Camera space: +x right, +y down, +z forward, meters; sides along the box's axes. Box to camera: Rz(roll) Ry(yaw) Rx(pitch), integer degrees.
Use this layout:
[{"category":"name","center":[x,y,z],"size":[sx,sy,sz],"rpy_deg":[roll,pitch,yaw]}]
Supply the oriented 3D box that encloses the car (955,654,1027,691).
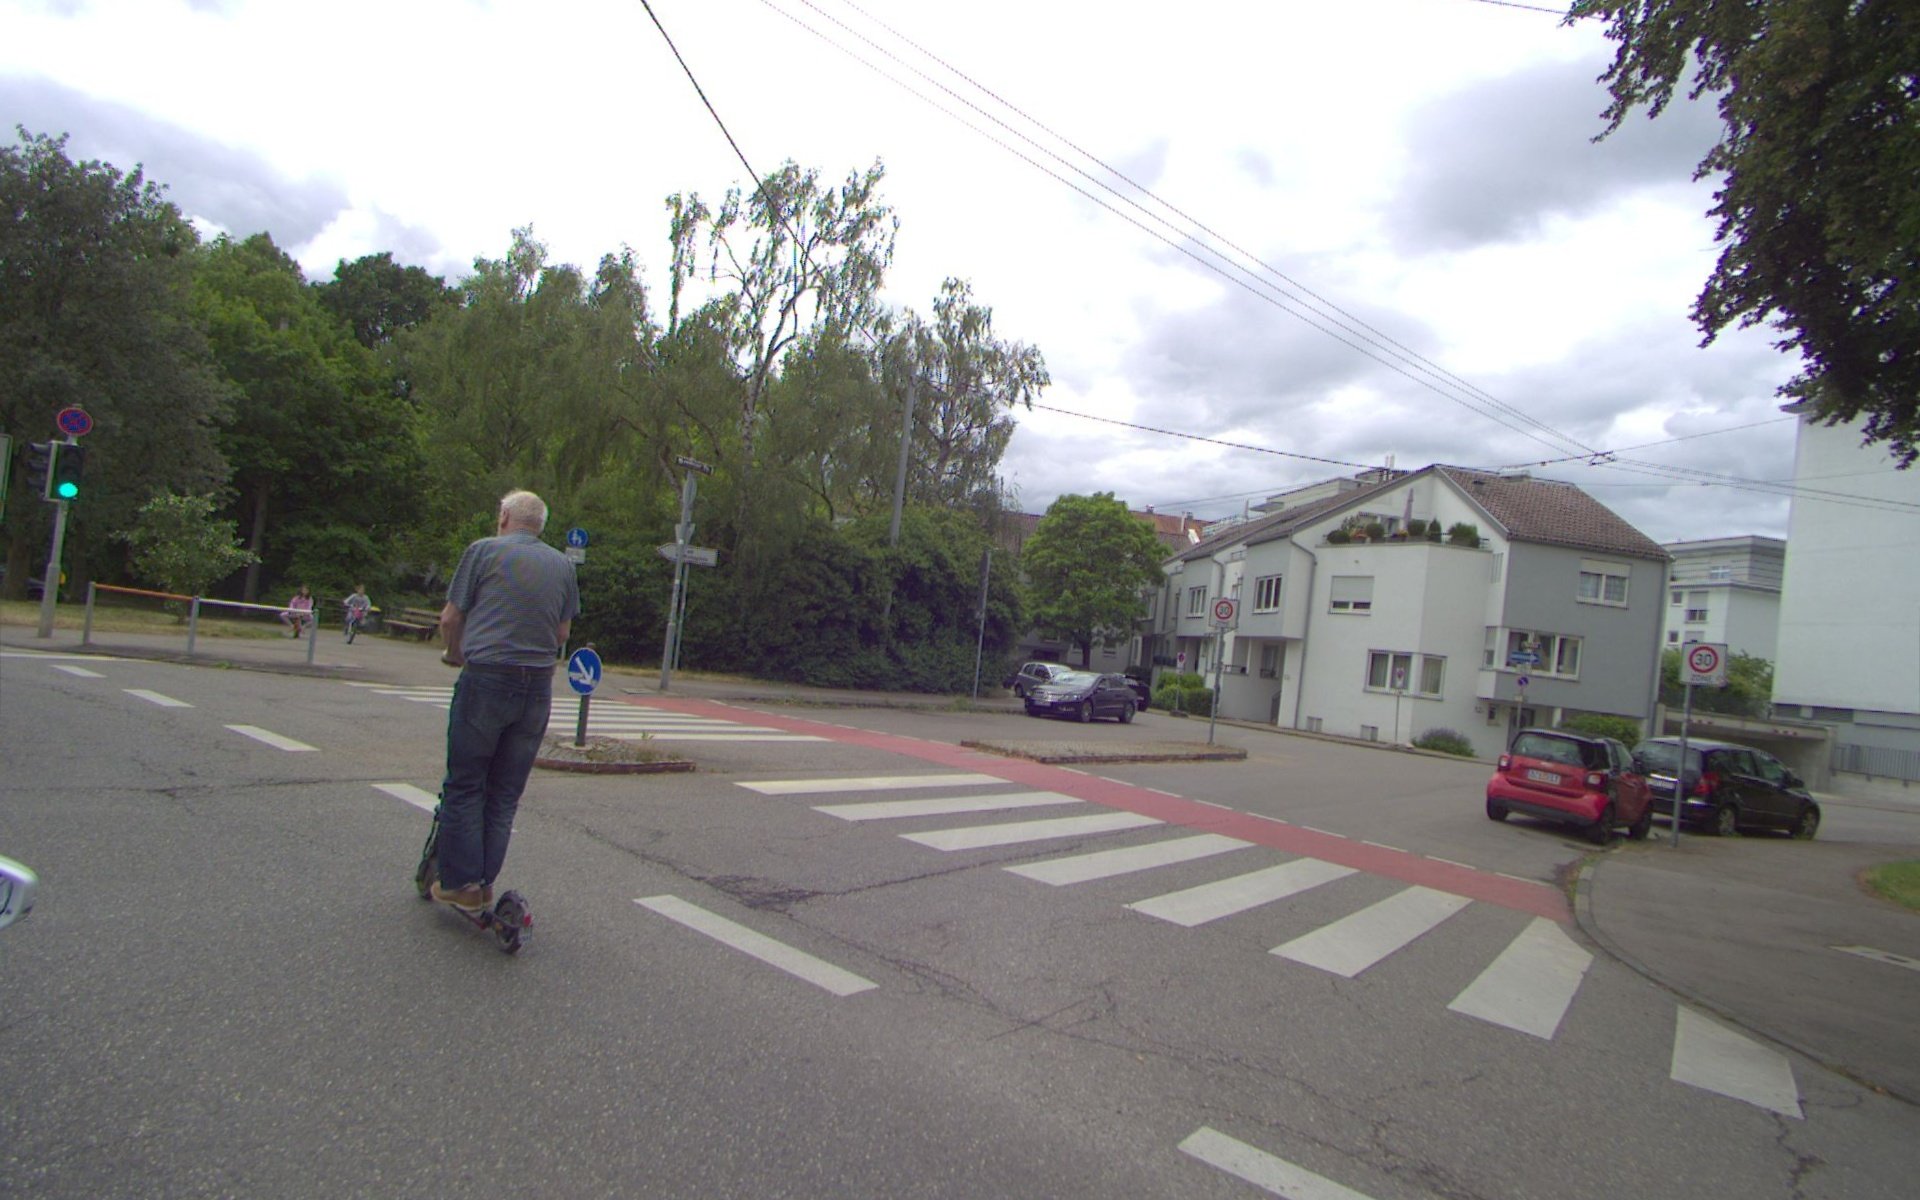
[{"category":"car","center":[1.598,3.871,53.808],"size":[1.914,1.562,4.036],"rpy_deg":[8,-4,-30]}]

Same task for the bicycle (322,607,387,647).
[{"category":"bicycle","center":[-13.788,0.611,22.900],"size":[1.656,0.767,0.640],"rpy_deg":[3,-3,37]}]

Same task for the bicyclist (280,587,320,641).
[{"category":"bicyclist","center":[-15.383,0.321,23.431],"size":[0.516,1.200,0.956],"rpy_deg":[6,-4,-44]}]

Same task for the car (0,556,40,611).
[{"category":"car","center":[-28.904,-0.674,28.266],"size":[1.547,1.492,4.153],"rpy_deg":[4,-4,22]}]

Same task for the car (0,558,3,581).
[{"category":"car","center":[-32.586,-0.840,31.374],"size":[1.563,1.492,3.539],"rpy_deg":[4,-4,20]}]

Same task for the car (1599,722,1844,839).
[{"category":"car","center":[13.850,3.281,18.312],"size":[3.775,1.608,1.811],"rpy_deg":[8,-3,-22]}]

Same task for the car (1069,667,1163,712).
[{"category":"car","center":[6.905,3.952,44.776],"size":[1.914,1.562,4.036],"rpy_deg":[8,-4,-30]}]

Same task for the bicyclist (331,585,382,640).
[{"category":"bicyclist","center":[-13.733,0.281,22.900],"size":[0.791,1.175,0.639],"rpy_deg":[4,-2,36]}]

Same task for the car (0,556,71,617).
[{"category":"car","center":[-26.483,-0.519,26.843],"size":[1.550,1.492,3.725],"rpy_deg":[4,-4,30]}]

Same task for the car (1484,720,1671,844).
[{"category":"car","center":[9.749,2.839,15.831],"size":[2.903,1.523,1.676],"rpy_deg":[10,-3,-42]}]

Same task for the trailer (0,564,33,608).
[{"category":"trailer","center":[-30.605,-0.604,30.372],"size":[1.587,1.280,3.415],"rpy_deg":[3,-4,23]}]

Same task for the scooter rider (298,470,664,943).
[{"category":"scooter rider","center":[-2.066,0.393,4.357],"size":[1.176,1.750,0.683],"rpy_deg":[6,-1,28]}]

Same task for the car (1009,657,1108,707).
[{"category":"car","center":[3.666,3.059,37.916],"size":[1.790,1.503,3.643],"rpy_deg":[8,-4,-31]}]

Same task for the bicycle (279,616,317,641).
[{"category":"bicycle","center":[-15.415,0.659,23.418],"size":[0.516,0.503,0.977],"rpy_deg":[7,-4,-44]}]

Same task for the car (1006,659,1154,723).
[{"category":"car","center":[3.543,2.652,28.949],"size":[2.008,1.455,4.787],"rpy_deg":[5,-3,37]}]

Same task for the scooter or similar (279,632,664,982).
[{"category":"scooter or similar","center":[-2.129,0.811,4.376],"size":[1.434,1.152,0.683],"rpy_deg":[6,-2,28]}]
